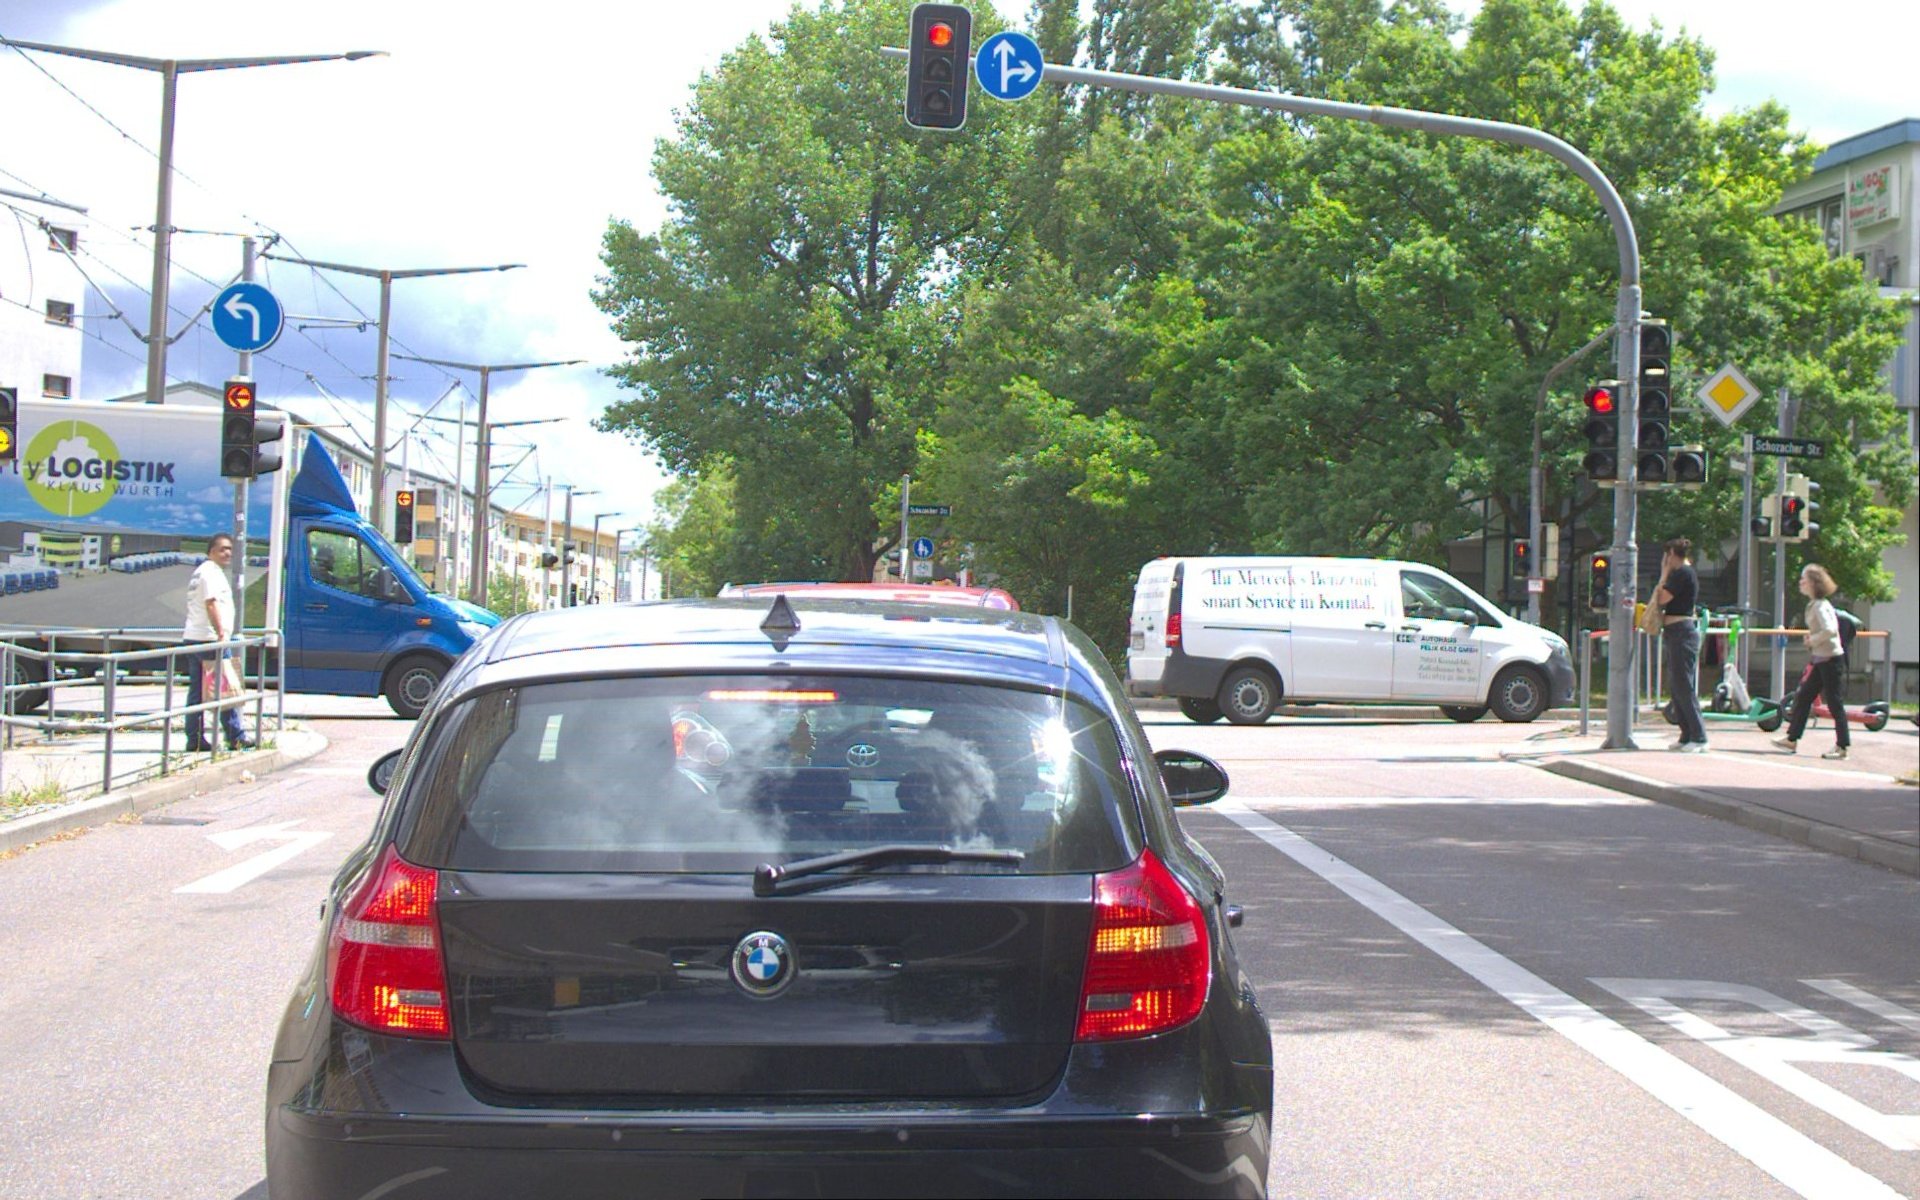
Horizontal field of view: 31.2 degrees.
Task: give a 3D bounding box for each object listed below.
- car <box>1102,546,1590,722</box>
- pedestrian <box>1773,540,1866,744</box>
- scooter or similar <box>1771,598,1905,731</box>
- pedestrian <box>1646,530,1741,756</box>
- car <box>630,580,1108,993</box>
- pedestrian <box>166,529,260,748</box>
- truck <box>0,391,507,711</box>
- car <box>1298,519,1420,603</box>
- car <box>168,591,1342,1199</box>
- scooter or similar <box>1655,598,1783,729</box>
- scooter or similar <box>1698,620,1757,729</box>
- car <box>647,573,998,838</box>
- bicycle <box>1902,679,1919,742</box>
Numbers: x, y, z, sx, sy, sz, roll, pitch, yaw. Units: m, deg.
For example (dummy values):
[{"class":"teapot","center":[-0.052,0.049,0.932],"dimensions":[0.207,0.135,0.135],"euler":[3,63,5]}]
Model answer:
[{"class":"car","center":[4.405,0.386,39.503],"dimensions":[5.168,1.886,2.001],"euler":[1,0,-13]},{"class":"pedestrian","center":[7.517,0.365,30.098],"dimensions":[0.636,1.760,0.518],"euler":[1,0,-3]},{"class":"scooter or similar","center":[8.683,0.633,34.023],"dimensions":[1.150,1.268,0.555],"euler":[2,0,2]},{"class":"pedestrian","center":[6.150,0.358,28.838],"dimensions":[0.636,1.870,0.518],"euler":[1,0,-3]},{"class":"car","center":[-0.335,0.638,13.636],"dimensions":[1.638,1.395,3.420],"euler":[1,0,-1]},{"class":"pedestrian","center":[-5.973,0.302,27.471],"dimensions":[0.687,1.728,0.688],"euler":[1,0,-14]},{"class":"truck","center":[-8.708,-0.524,37.721],"dimensions":[7.266,3.337,2.609],"euler":[1,0,-10]},{"class":"car","center":[9.184,-0.889,79.462],"dimensions":[1.726,1.865,4.001],"euler":[1,0,-9]},{"class":"car","center":[-0.322,0.705,6.732],"dimensions":[1.700,1.395,3.420],"euler":[1,0,-1]},{"class":"scooter or similar","center":[7.333,0.607,33.254],"dimensions":[1.110,1.231,0.539],"euler":[1,0,2]},{"class":"scooter or similar","center":[7.794,0.746,34.904],"dimensions":[0.548,1.060,1.261],"euler":[1,0,13]},{"class":"car","center":[-0.777,0.560,21.105],"dimensions":[1.900,1.417,4.539],"euler":[1,0,-1]},{"class":"bicycle","center":[10.208,1.118,34.163],"dimensions":[1.587,0.608,0.534],"euler":[1,0,20]}]
